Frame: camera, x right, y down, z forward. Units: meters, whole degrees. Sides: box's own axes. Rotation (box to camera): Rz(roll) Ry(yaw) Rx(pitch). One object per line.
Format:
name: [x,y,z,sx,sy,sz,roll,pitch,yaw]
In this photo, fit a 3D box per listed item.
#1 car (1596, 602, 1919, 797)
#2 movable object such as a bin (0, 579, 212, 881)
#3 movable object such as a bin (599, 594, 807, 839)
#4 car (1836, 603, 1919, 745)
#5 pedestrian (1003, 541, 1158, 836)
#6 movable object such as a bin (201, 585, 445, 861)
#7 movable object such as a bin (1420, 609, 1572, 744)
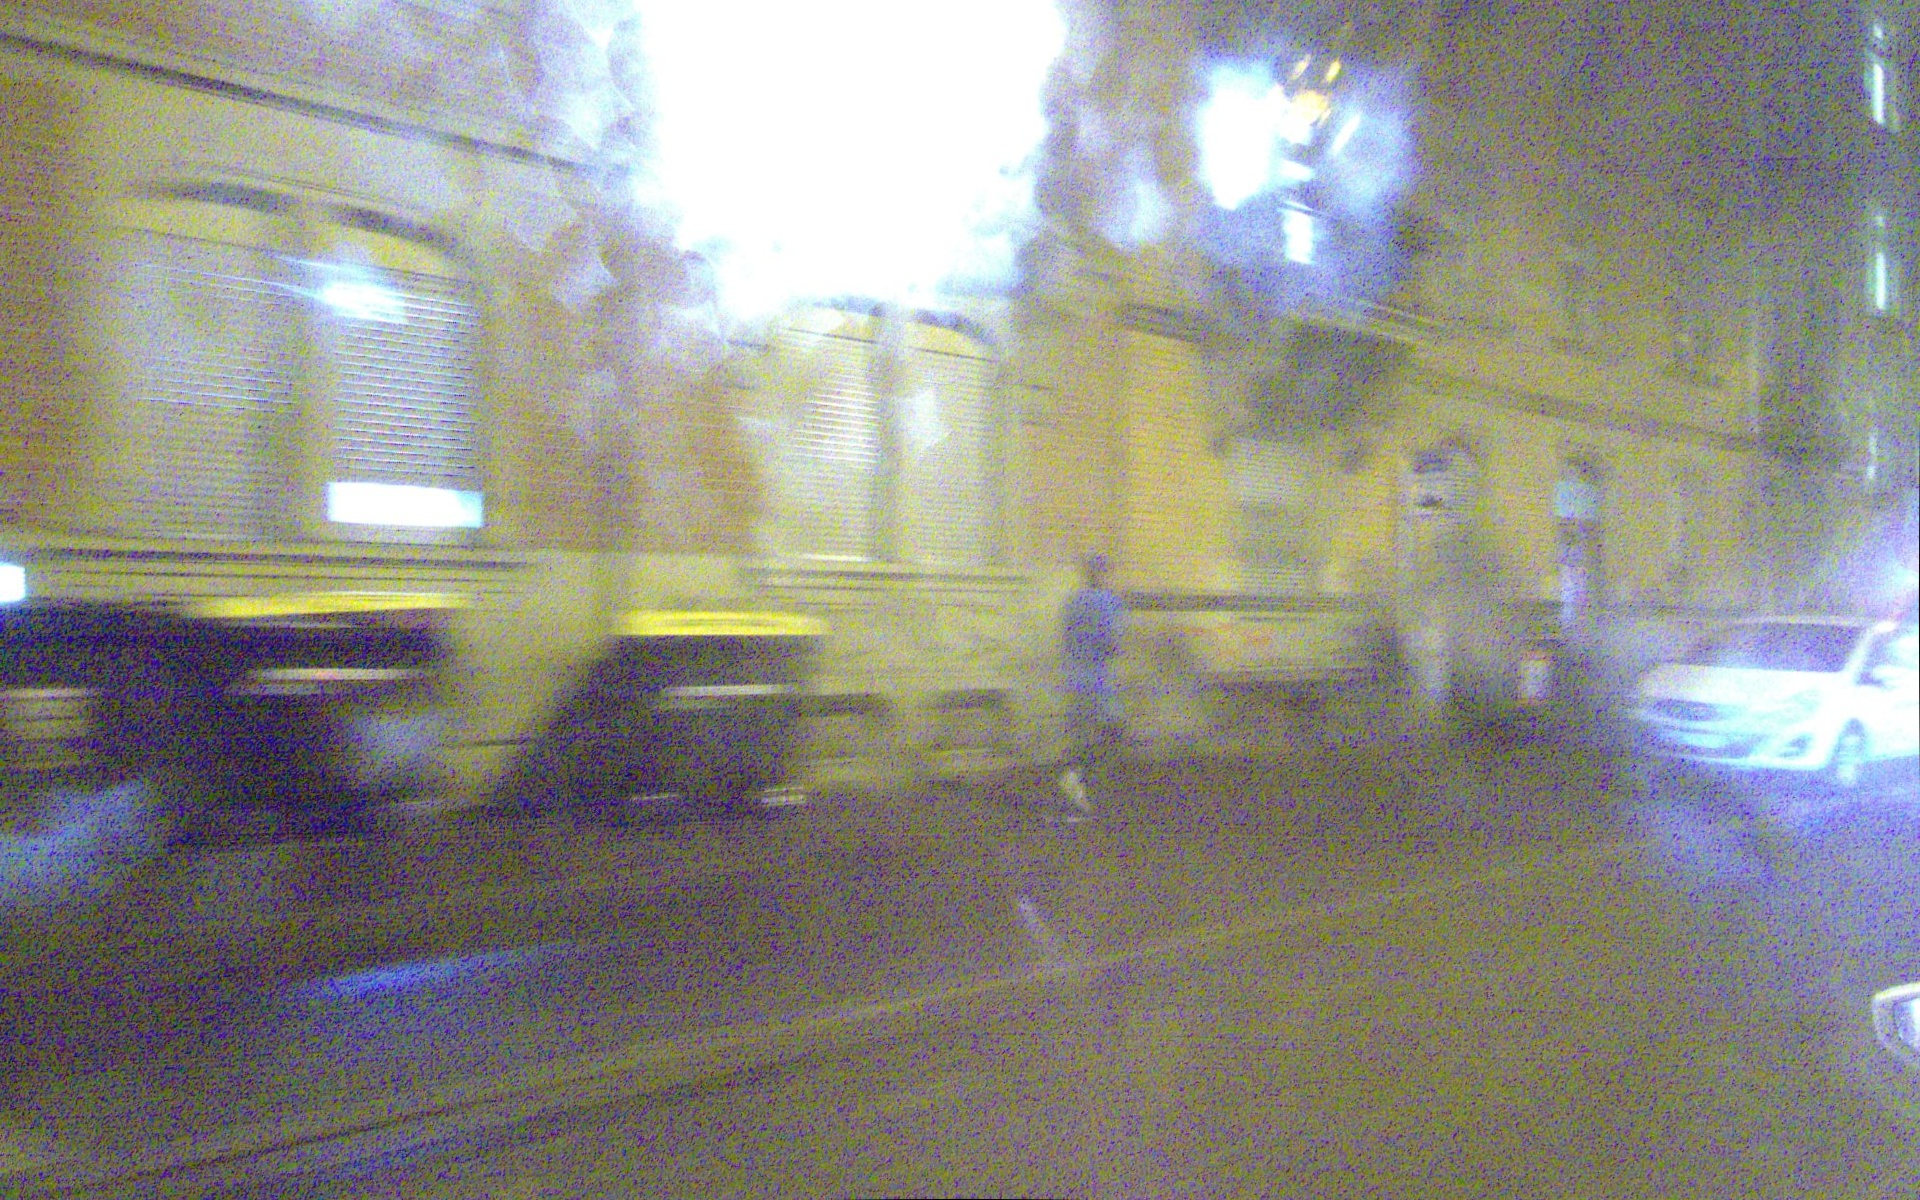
car: [7.849,0.805,9.430,3.747,1.502,1.580,1,0,-29]
movable object such as a bin: [-4.734,0.620,5.289,1.119,1.439,0.971,1,1,-27]
movable object such as a bin: [-1.705,0.693,6.581,1.119,1.417,0.971,1,1,-27]
car: [12.455,0.865,12.275,4.034,1.578,1.645,1,0,-34]
pedestrian: [0.800,0.550,6.719,0.785,1.845,0.588,1,2,-30]
movable object such as a bin: [-3.691,0.647,5.951,1.119,1.439,0.971,1,1,-27]
movable object such as a bin: [6.119,0.834,11.503,1.143,1.417,1.043,1,1,-27]
